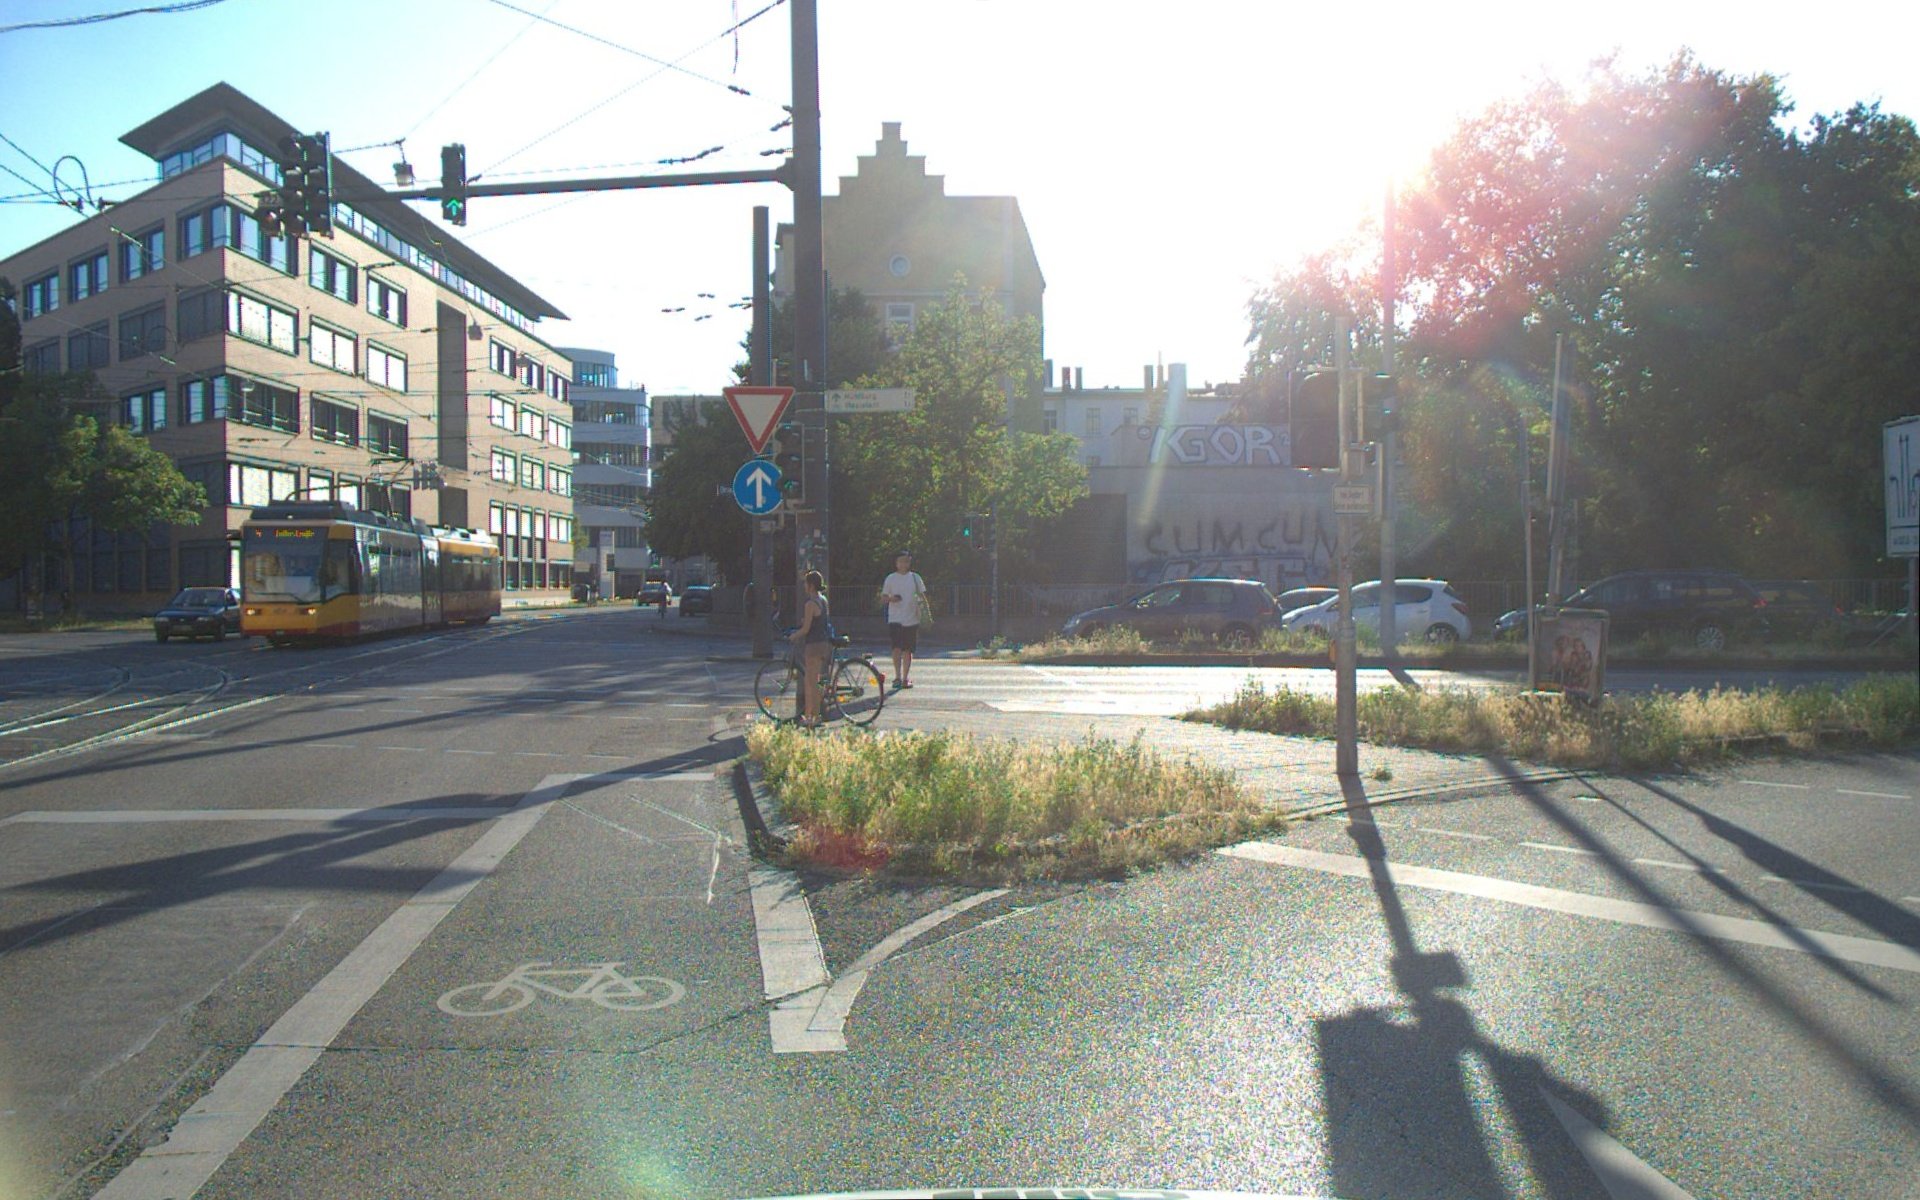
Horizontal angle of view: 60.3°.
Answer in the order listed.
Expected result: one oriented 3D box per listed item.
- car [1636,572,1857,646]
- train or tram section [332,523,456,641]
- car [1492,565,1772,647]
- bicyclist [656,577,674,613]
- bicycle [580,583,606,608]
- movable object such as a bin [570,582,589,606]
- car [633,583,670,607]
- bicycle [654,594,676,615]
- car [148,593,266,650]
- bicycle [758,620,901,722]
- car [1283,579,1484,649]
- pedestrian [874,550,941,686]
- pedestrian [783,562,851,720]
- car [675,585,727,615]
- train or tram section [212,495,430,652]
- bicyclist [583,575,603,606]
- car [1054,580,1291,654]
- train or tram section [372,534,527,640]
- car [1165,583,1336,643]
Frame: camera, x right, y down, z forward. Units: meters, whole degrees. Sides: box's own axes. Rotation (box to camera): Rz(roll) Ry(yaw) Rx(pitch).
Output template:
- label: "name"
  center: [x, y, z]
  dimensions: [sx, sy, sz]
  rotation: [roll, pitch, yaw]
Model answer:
- label: "car"
  center: [16.783, 0.180, 35.465]
  dimensions: [3.902, 1.489, 1.861]
  rotation: [-1, 1, 8]
- label: "train or tram section"
  center: [-18.134, -0.588, 53.315]
  dimensions: [2.807, 3.569, 5.293]
  rotation: [-1, 0, -9]
- label: "car"
  center: [11.452, 0.104, 28.460]
  dimensions: [4.270, 1.319, 1.726]
  rotation: [-1, 0, 15]
- label: "bicyclist"
  center: [-13.029, -0.233, 73.047]
  dimensions: [0.660, 1.548, 0.813]
  rotation: [-1, 0, -3]
- label: "bicycle"
  center: [-24.741, -0.303, 111.562]
  dimensions: [1.008, 1.680, 2.561]
  rotation: [-1, 0, 3]
- label: "movable object such as a bin"
  center: [-26.468, -0.443, 115.038]
  dimensions: [1.044, 1.657, 0.889]
  rotation: [-1, 0, -1]
- label: "car"
  center: [-21.912, -0.354, 117.629]
  dimensions: [1.778, 1.643, 4.466]
  rotation: [-1, 1, 1]
- label: "bicycle"
  center: [-13.024, 0.201, 73.022]
  dimensions: [0.681, 0.892, 2.026]
  rotation: [-1, 1, -3]
- label: "car"
  center: [-20.170, 0.545, 44.473]
  dimensions: [1.775, 1.404, 4.154]
  rotation: [-1, 1, -9]
- label: "bicycle"
  center: [-1.417, 0.743, 17.833]
  dimensions: [1.637, 1.047, 0.398]
  rotation: [0, 0, 34]
- label: "car"
  center: [8.472, 0.270, 33.249]
  dimensions: [3.799, 1.342, 1.726]
  rotation: [-1, 0, 13]
- label: "pedestrian"
  center: [-0.713, 0.232, 22.703]
  dimensions: [0.890, 1.820, 0.827]
  rotation: [-1, 0, -1]
- label: "pedestrian"
  center: [-1.533, 0.430, 17.766]
  dimensions: [0.514, 1.660, 0.488]
  rotation: [-1, 0, 34]
- label: "car"
  center: [-12.603, -0.020, 80.676]
  dimensions: [1.747, 1.412, 4.002]
  rotation: [-1, 1, 3]
- label: "train or tram section"
  center: [-16.643, -0.672, 44.242]
  dimensions: [2.808, 3.569, 12.986]
  rotation: [-1, 1, -9]
- label: "bicyclist"
  center: [-24.718, -0.657, 111.429]
  dimensions: [1.008, 2.049, 1.247]
  rotation: [1, -1, 3]
- label: "car"
  center: [3.966, 0.312, 30.726]
  dimensions: [4.145, 1.319, 1.725]
  rotation: [-1, 0, 17]
- label: "train or tram section"
  center: [-18.748, -0.497, 61.588]
  dimensions: [2.804, 3.569, 11.290]
  rotation: [-1, 1, -3]
- label: "car"
  center: [6.728, 0.301, 38.173]
  dimensions: [3.799, 1.319, 1.726]
  rotation: [-1, 0, 13]
